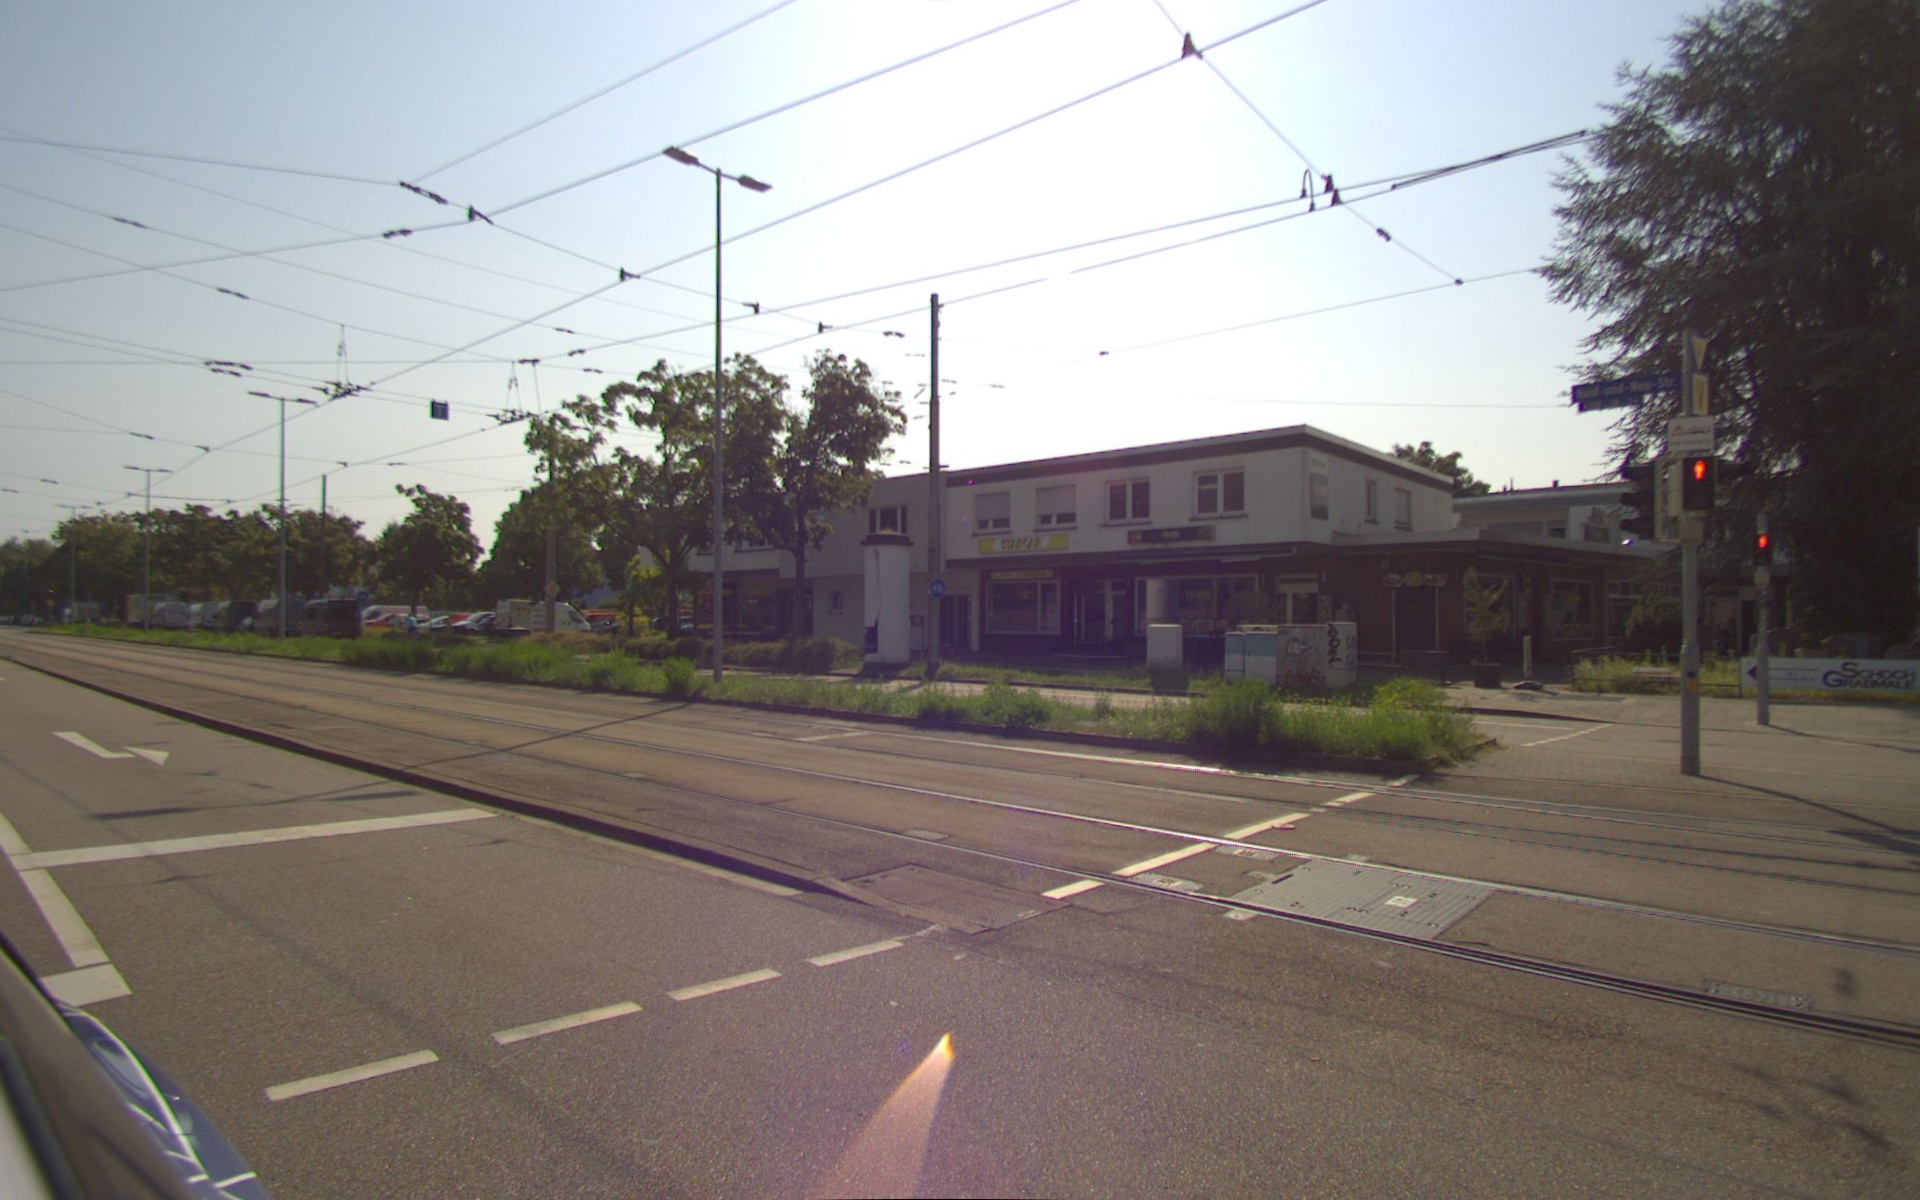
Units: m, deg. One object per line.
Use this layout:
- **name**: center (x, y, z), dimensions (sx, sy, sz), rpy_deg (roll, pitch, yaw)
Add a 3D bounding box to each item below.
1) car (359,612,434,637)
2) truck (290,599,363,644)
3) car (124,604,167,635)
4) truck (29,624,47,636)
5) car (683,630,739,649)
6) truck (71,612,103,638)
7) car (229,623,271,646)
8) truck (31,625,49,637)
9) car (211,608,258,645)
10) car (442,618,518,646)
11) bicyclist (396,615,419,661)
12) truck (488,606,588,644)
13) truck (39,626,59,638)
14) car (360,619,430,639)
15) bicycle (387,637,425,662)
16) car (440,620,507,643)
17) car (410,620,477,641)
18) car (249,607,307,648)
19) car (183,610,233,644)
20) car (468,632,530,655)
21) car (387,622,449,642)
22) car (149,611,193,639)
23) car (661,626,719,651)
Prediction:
- **car**: center (-47.414, 2.097, 85.240), dimensions (2.052, 1.940, 5.131), rpy_deg (-1, -3, 41)
- **truck**: center (-37.801, 1.288, 60.320), dimensions (5.737, 2.567, 2.059), rpy_deg (-1, -3, 42)
- **car**: center (-78.063, 1.893, 96.951), dimensions (7.231, 2.826, 2.101), rpy_deg (-1, -3, 43)
- **truck**: center (-142.788, 4.638, 156.678), dimensions (3.655, 1.687, 1.668), rpy_deg (-1, -3, 43)
- **car**: center (-18.077, 2.830, 73.438), dimensions (3.660, 1.353, 1.493), rpy_deg (2, -2, -40)
- **truck**: center (-109.407, 3.113, 126.795), dimensions (2.247, 3.145, 8.791), rpy_deg (4, -4, -45)
- **car**: center (-49.876, 2.419, 71.060), dimensions (3.835, 1.564, 1.725), rpy_deg (-1, -1, 45)
- **truck**: center (-139.692, 4.654, 153.634), dimensions (3.655, 1.687, 1.668), rpy_deg (-1, -3, 43)
- **car**: center (-54.202, 1.976, 75.565), dimensions (5.911, 2.606, 1.802), rpy_deg (-2, -1, 44)
- **car**: center (-32.889, 2.197, 69.451), dimensions (1.632, 1.798, 4.352), rpy_deg (-1, -3, 41)
- **bicyclist**: center (-25.395, 1.752, 46.518), dimensions (0.774, 2.080, 0.631), rpy_deg (-1, -3, 39)
- **truck**: center (-26.876, 1.611, 64.632), dimensions (2.258, 2.189, 5.432), rpy_deg (-1, -3, 41)
- **truck**: center (-132.138, 4.603, 146.778), dimensions (3.655, 1.687, 1.668), rpy_deg (-1, -3, 43)
- **car**: center (-45.860, 2.378, 82.242), dimensions (1.632, 1.461, 4.605), rpy_deg (-1, -3, 41)
- **bicycle**: center (-25.490, 2.264, 46.538), dimensions (2.263, 1.099, 0.708), rpy_deg (-1, -3, 40)
- **car**: center (-34.458, 2.254, 71.705), dimensions (1.632, 1.530, 3.882), rpy_deg (-1, -3, 41)
- **car**: center (-38.018, 2.256, 74.539), dimensions (4.107, 1.474, 1.626), rpy_deg (3, -3, -43)
- **car**: center (-45.246, 1.800, 67.084), dimensions (6.469, 2.606, 1.966), rpy_deg (-1, -1, 44)
- **car**: center (-60.179, 2.134, 80.936), dimensions (5.631, 2.606, 2.109), rpy_deg (-1, -4, 43)
- **car**: center (-30.722, 2.902, 67.555), dimensions (1.632, 1.437, 3.369), rpy_deg (-1, -3, 41)
- **car**: center (-42.136, 2.493, 78.731), dimensions (1.632, 1.461, 3.882), rpy_deg (-1, -3, 41)
- **car**: center (-70.800, 2.237, 90.787), dimensions (4.830, 2.477, 2.120), rpy_deg (-1, -3, 41)
- **car**: center (-20.315, 2.935, 76.215), dimensions (3.757, 1.782, 1.760), rpy_deg (4, -4, -43)
